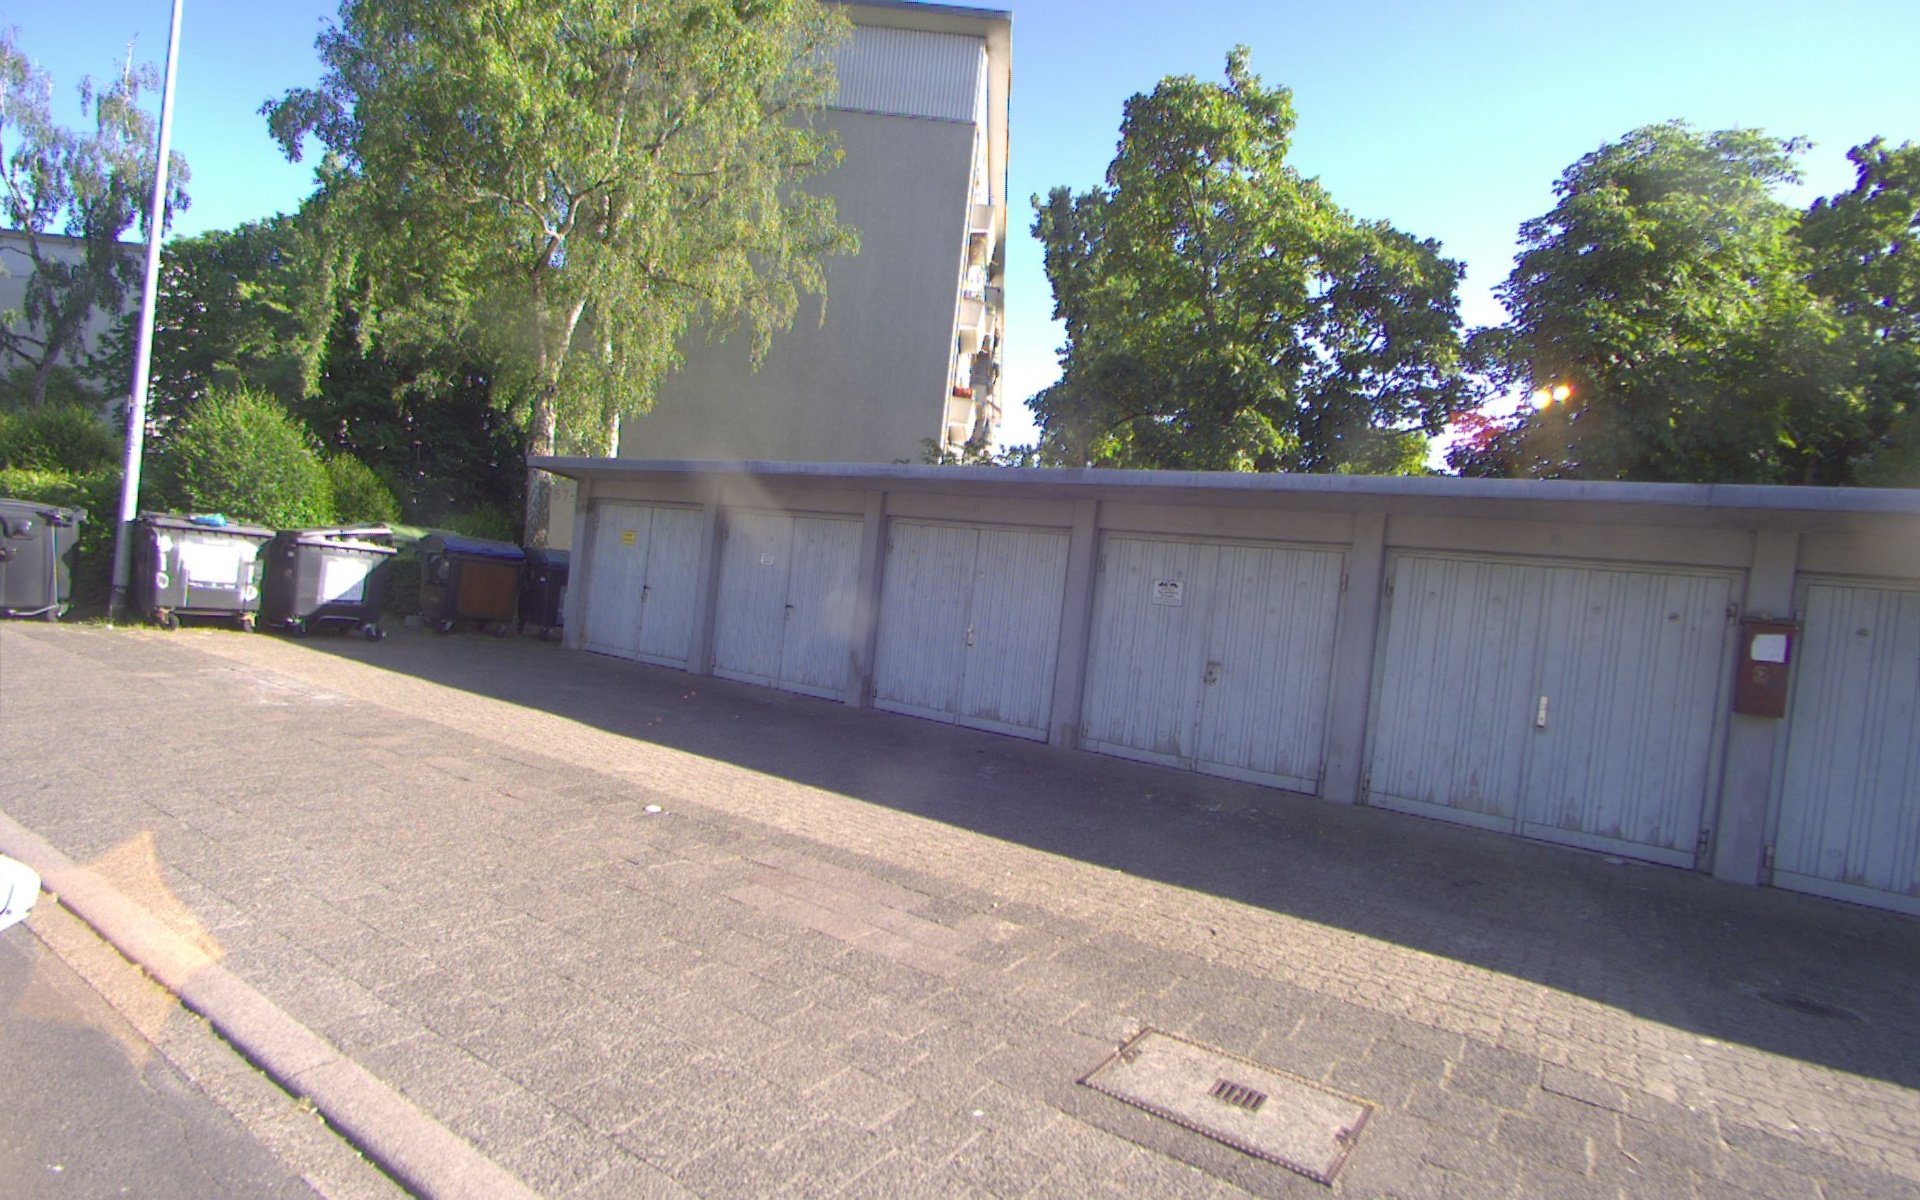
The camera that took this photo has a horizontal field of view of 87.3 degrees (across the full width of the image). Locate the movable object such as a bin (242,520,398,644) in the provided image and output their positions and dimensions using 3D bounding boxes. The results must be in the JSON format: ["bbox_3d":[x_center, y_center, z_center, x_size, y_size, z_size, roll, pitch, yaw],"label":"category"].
[{"bbox_3d":[-8.140,-0.216,12.821,1.116,1.382,1.276,7,1,37],"label":"movable object such as a bin"}]

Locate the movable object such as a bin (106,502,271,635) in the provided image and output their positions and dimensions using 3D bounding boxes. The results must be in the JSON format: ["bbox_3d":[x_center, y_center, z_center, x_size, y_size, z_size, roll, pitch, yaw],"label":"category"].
[{"bbox_3d":[-9.156,-0.362,11.954,1.116,1.382,1.223,7,1,37],"label":"movable object such as a bin"}]

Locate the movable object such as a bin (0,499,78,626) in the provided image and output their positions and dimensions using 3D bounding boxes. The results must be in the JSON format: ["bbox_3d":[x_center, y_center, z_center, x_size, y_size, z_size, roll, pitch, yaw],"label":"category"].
[{"bbox_3d":[-10.666,-0.450,11.298,1.368,1.328,1.022,7,4,44],"label":"movable object such as a bin"}]

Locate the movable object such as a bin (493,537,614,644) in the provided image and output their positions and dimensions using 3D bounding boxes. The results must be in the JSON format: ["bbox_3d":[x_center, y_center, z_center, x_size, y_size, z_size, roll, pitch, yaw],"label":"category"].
[{"bbox_3d":[-6.560,-0.140,16.253,1.115,1.485,1.276,11,3,37],"label":"movable object such as a bin"}]

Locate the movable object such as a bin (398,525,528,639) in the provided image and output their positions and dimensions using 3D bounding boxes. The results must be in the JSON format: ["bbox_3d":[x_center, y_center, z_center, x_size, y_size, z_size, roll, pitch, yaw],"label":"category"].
[{"bbox_3d":[-7.570,-0.262,15.343,1.115,1.485,1.276,11,3,37],"label":"movable object such as a bin"}]
